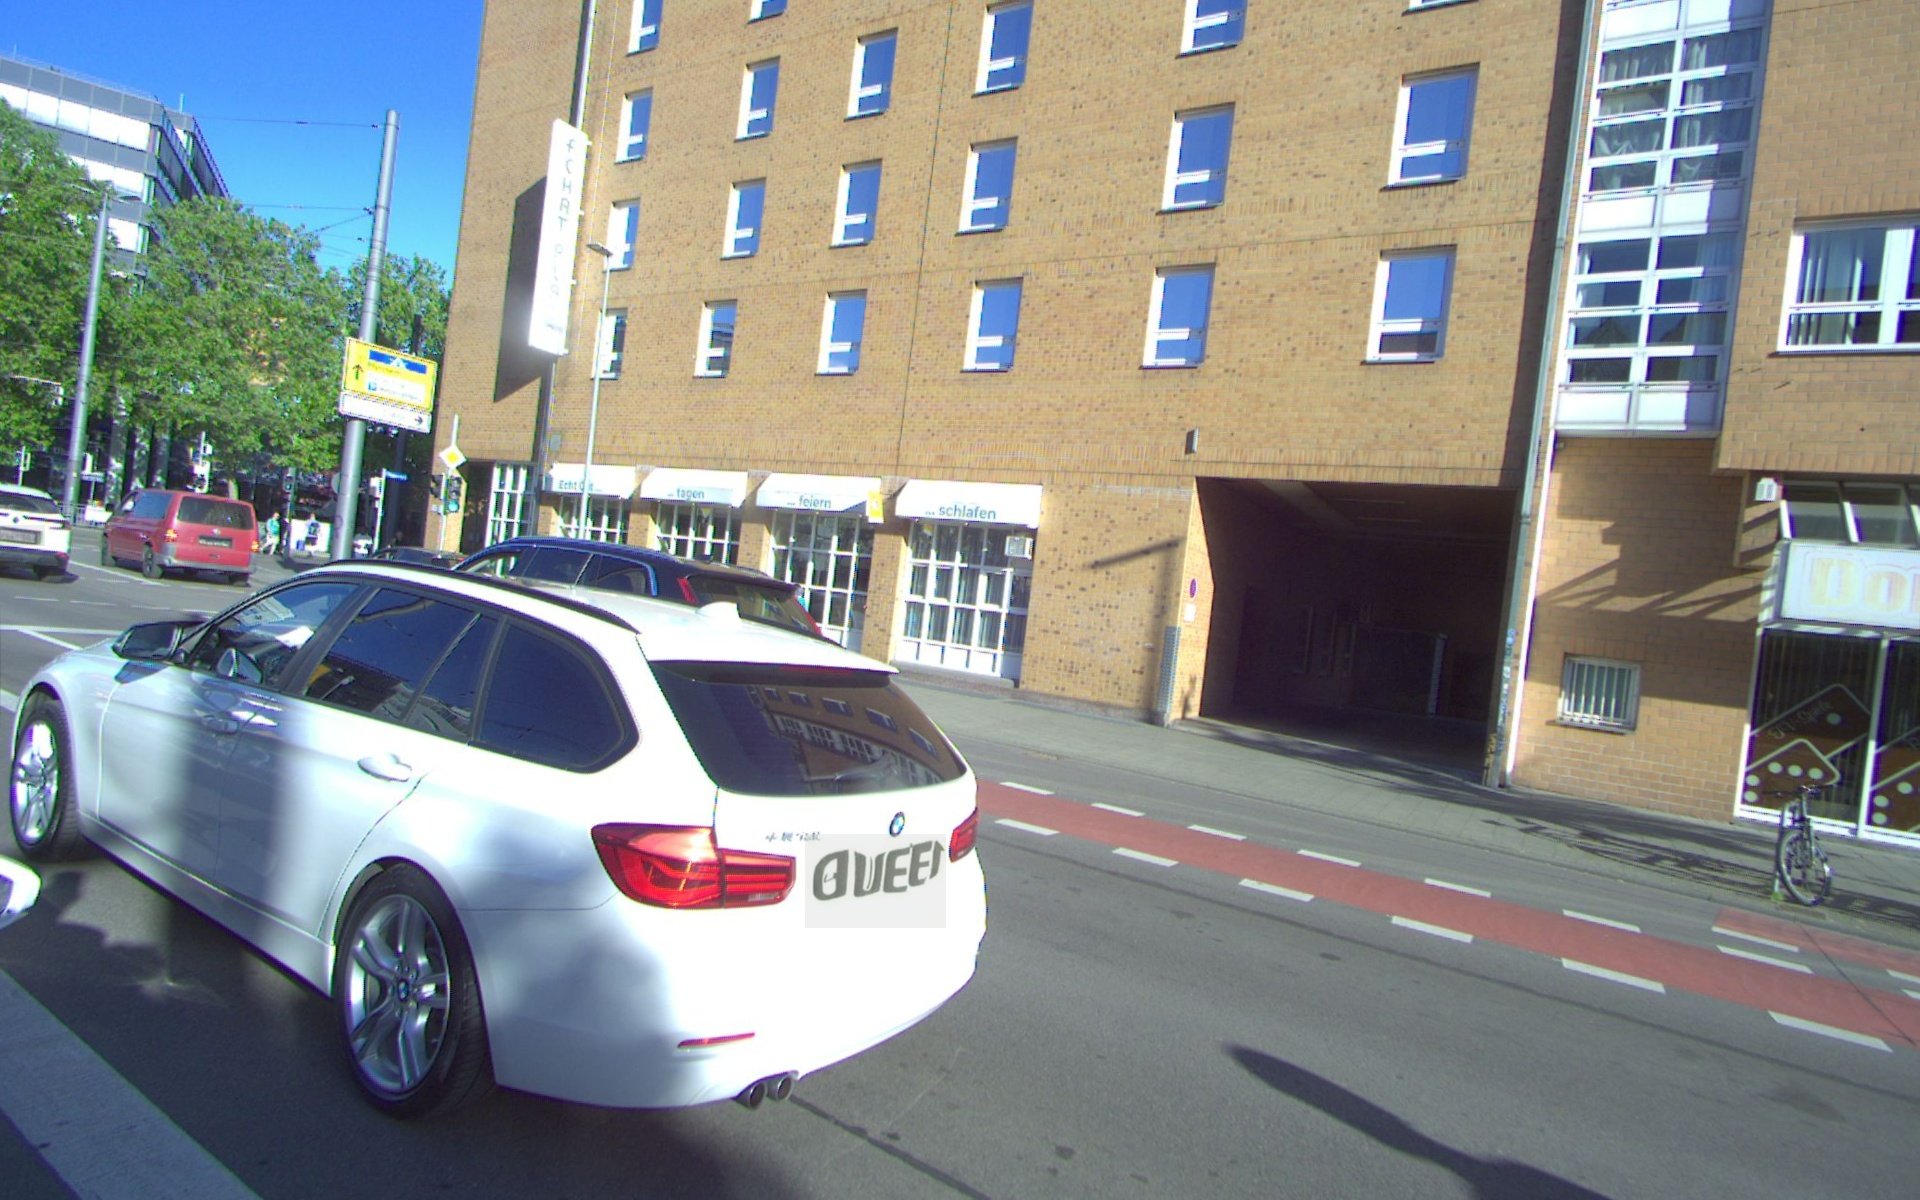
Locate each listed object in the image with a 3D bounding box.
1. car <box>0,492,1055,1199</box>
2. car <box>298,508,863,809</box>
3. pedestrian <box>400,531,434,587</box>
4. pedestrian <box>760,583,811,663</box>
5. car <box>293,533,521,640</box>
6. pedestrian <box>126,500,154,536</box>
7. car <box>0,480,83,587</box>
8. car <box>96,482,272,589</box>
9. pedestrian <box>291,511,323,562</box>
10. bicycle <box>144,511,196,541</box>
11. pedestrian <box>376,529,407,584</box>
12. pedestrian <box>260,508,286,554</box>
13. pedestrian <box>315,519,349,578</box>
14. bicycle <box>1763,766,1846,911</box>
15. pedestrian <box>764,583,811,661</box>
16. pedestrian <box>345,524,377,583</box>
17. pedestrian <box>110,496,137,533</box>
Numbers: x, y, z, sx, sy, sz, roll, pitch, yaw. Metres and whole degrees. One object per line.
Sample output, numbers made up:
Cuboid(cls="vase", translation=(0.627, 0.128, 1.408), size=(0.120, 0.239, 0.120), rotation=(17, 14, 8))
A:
Cuboid(cls="car", translation=(-2.022, 0.539, 4.023), size=(4.345, 1.474, 1.735), rotation=(6, -2, 32))
Cuboid(cls="car", translation=(-3.281, 0.370, 8.490), size=(4.531, 1.752, 1.736), rotation=(6, -2, 28))
Cuboid(cls="pedestrian", translation=(-18.646, -1.415, 34.557), size=(0.726, 1.813, 0.510), rotation=(7, -1, -19))
Cuboid(cls="pedestrian", translation=(-3.377, 0.454, 19.515), size=(0.591, 1.471, 0.593), rotation=(6, 1, 32))
Cuboid(cls="car", translation=(-10.411, -0.258, 18.917), size=(3.970, 1.466, 1.736), rotation=(6, -2, 28))
Cuboid(cls="pedestrian", translation=(-37.324, -3.743, 45.771), size=(0.689, 1.496, 0.568), rotation=(7, -1, 18))
Cuboid(cls="car", translation=(-17.190, -1.290, 17.485), size=(3.974, 1.617, 1.735), rotation=(6, -2, 32))
Cuboid(cls="car", translation=(-18.010, -1.514, 23.292), size=(4.401, 2.033, 1.804), rotation=(6, 0, 34))
Cuboid(cls="pedestrian", translation=(-26.247, -2.551, 40.442), size=(0.787, 1.920, 0.809), rotation=(8, -1, -39))
Cuboid(cls="bicycle", translation=(-41.828, -3.910, 53.269), size=(0.414, 1.228, 2.046), rotation=(6, -2, 32))
Cuboid(cls="pedestrian", translation=(-19.278, -1.471, 34.135), size=(0.622, 1.749, 0.623), rotation=(8, -1, -42))
Cuboid(cls="pedestrian", translation=(-27.248, -2.744, 39.882), size=(0.636, 1.719, 0.715), rotation=(8, -1, -39))
Cuboid(cls="pedestrian", translation=(-19.972, -1.636, 32.004), size=(0.670, 1.804, 0.593), rotation=(6, 3, 29))
Cuboid(cls="bicycle", translation=(8.246, 2.279, 9.862), size=(0.424, 1.090, 1.768), rotation=(6, 1, 37))
Cuboid(cls="pedestrian", translation=(-3.492, 0.445, 20.379), size=(0.543, 1.495, 0.593), rotation=(7, 1, 32))
Cuboid(cls="pedestrian", translation=(-19.304, -1.498, 32.418), size=(0.672, 1.802, 0.591), rotation=(7, 1, 43))
Cuboid(cls="pedestrian", translation=(-37.557, -3.825, 45.162), size=(0.690, 1.550, 0.567), rotation=(7, -1, 28))
